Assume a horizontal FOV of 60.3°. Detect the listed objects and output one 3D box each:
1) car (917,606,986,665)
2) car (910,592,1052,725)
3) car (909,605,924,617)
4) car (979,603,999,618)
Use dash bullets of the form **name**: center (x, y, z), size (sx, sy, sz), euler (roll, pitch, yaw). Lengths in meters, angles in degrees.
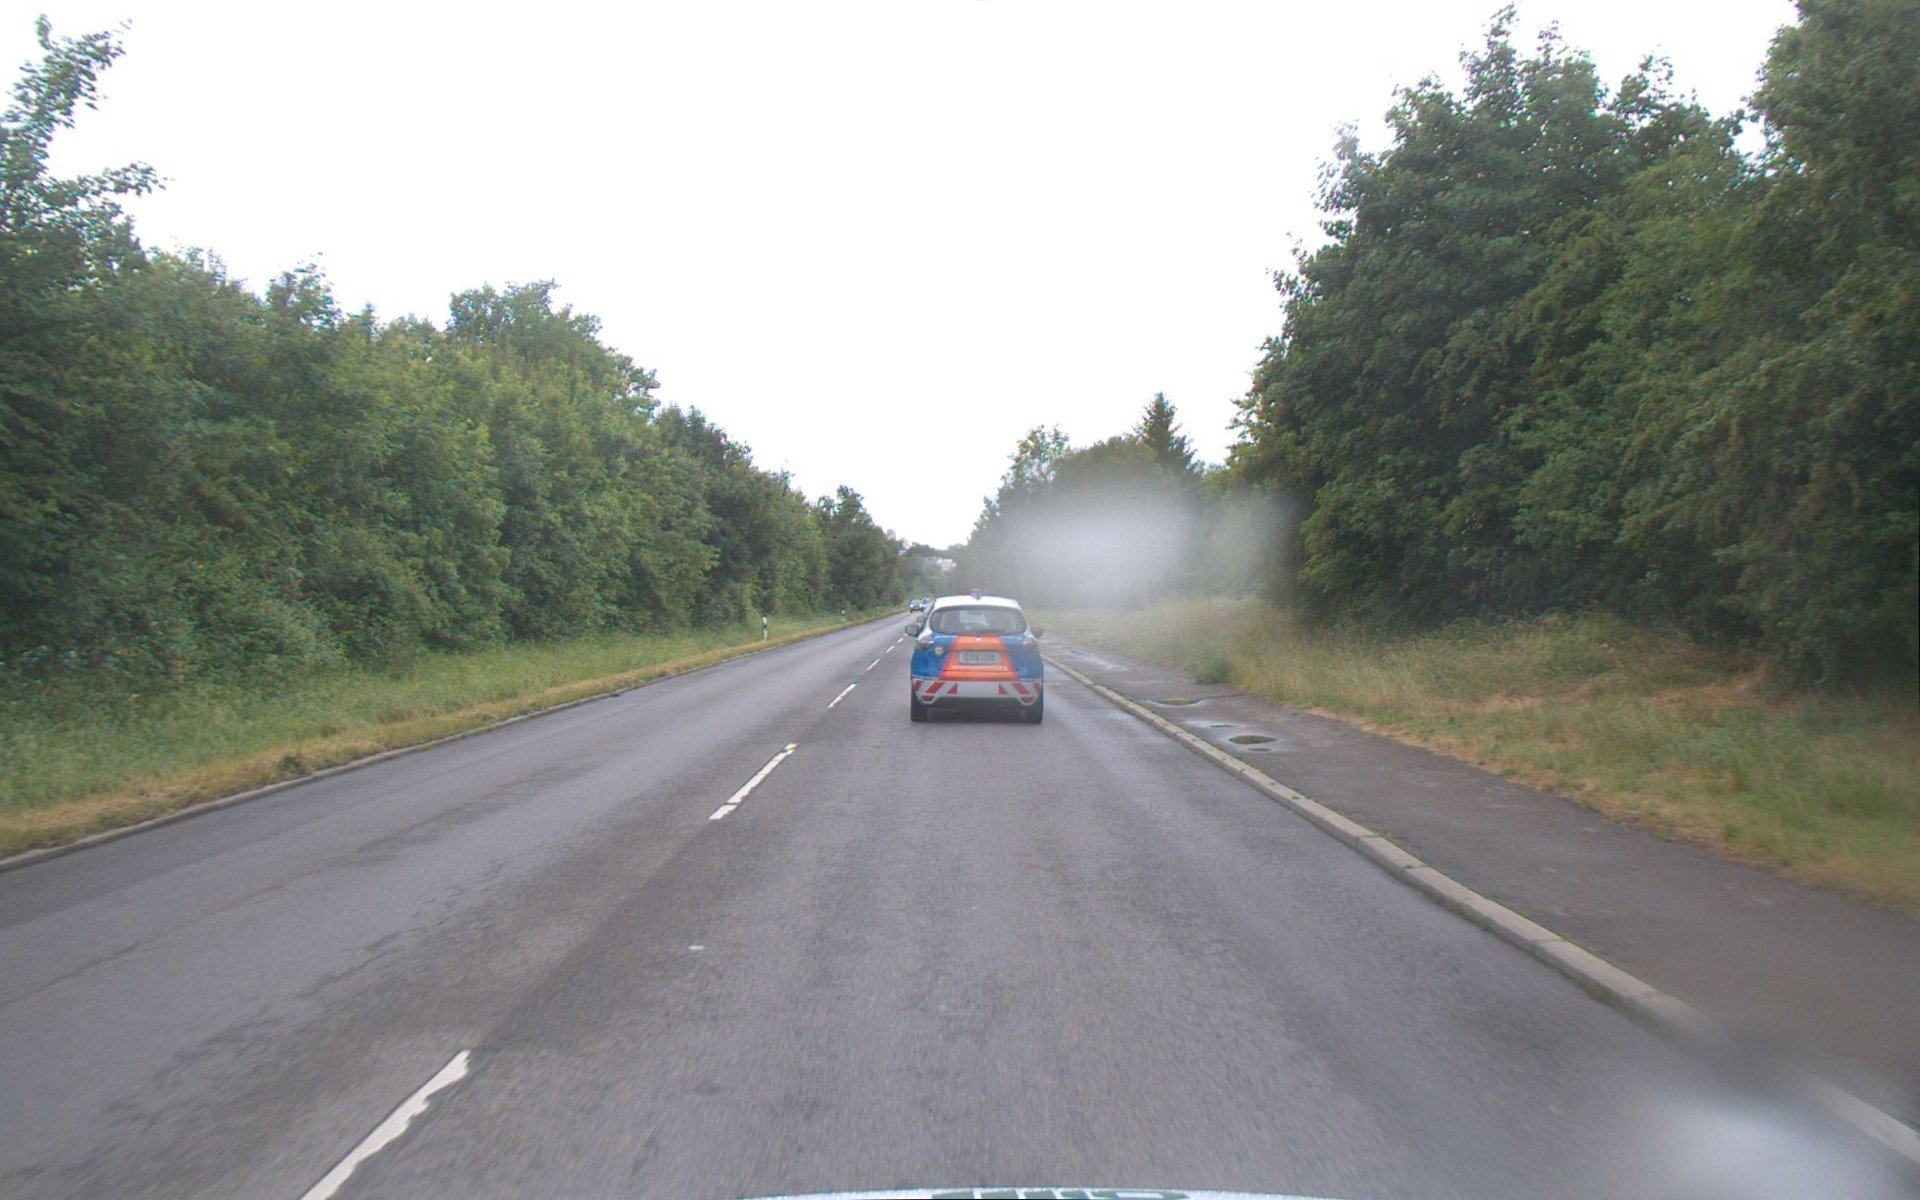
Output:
- **car**: center (-0.189, 0.814, 39.602), size (1.566, 1.309, 3.476), euler (-1, 0, 0)
- **car**: center (0.231, 0.701, 21.956), size (1.716, 1.583, 3.792), euler (0, 1, -1)
- **car**: center (-5.858, 1.494, 222.212), size (1.866, 1.584, 4.515), euler (-1, 0, -1)
- **car**: center (2.928, 1.057, 167.309), size (1.953, 1.400, 4.000), euler (-1, 0, 0)
